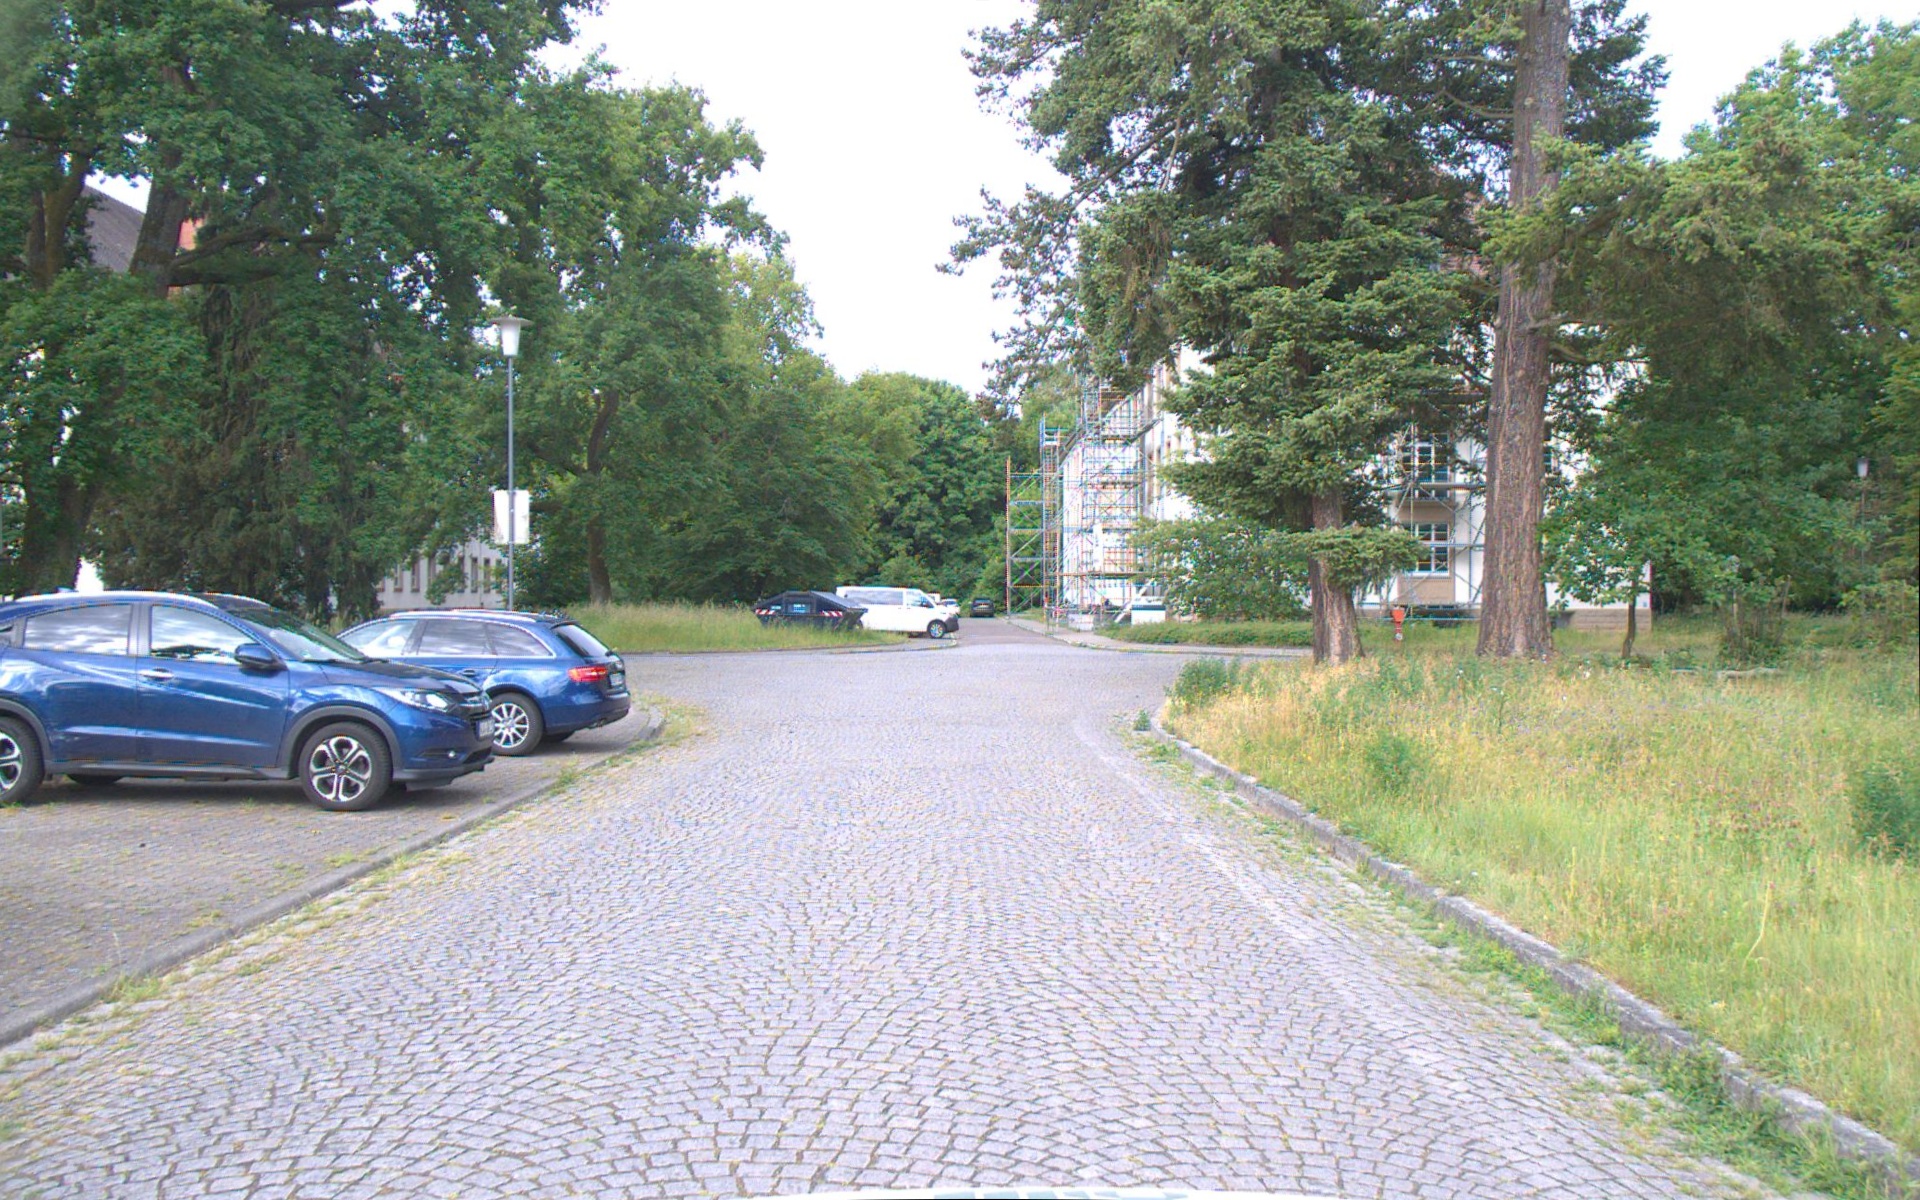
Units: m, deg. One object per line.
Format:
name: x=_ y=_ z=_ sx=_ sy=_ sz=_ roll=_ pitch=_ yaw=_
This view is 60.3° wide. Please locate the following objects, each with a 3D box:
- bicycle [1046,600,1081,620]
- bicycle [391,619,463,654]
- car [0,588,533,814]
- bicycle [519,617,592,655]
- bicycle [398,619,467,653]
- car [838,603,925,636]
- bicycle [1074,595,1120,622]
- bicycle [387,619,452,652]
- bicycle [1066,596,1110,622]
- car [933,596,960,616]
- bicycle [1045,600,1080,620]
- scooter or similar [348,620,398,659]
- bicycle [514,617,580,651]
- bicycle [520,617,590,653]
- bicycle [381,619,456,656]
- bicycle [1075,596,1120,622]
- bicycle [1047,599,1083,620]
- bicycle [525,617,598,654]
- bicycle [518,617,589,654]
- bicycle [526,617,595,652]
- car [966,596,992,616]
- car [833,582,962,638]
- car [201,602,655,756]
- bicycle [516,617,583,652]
bicycle: x=6.567 y=0.611 z=104.782 sx=2.194 sy=1.276 sz=0.698 roll=0 pitch=0 yaw=1
bicycle: x=-15.653 y=1.066 z=48.561 sx=1.935 sy=1.007 sz=0.621 roll=0 pitch=0 yaw=-28
car: x=-5.686 y=0.739 z=13.065 sx=4.143 sy=1.604 sz=1.886 roll=1 pitch=0 yaw=-2
bicycle: x=-11.294 y=1.002 z=46.173 sx=1.930 sy=1.007 sz=0.623 roll=0 pitch=0 yaw=-22
bicycle: x=-15.900 y=1.079 z=49.905 sx=1.923 sy=1.007 sz=0.625 roll=0 pitch=0 yaw=-12
car: x=-3.390 y=0.844 z=71.802 sx=3.713 sy=1.420 sz=1.999 roll=0 pitch=0 yaw=-2
bicycle: x=6.611 y=0.420 z=79.818 sx=2.194 sy=1.276 sz=0.778 roll=0 pitch=0 yaw=1
bicycle: x=-17.092 y=1.108 z=52.318 sx=1.927 sy=1.007 sz=0.624 roll=0 pitch=0 yaw=-18
bicycle: x=6.500 y=0.454 z=84.072 sx=2.194 sy=1.276 sz=0.778 roll=0 pitch=0 yaw=1
car: x=-1.124 y=0.497 z=132.715 sx=2.076 sy=1.548 sz=3.998 roll=0 pitch=0 yaw=-2
bicycle: x=6.562 y=0.618 z=105.627 sx=2.194 sy=1.276 sz=0.634 roll=0 pitch=0 yaw=1
scooter or similar: x=-16.148 y=1.089 z=45.509 sx=1.321 sy=1.056 sz=0.453 roll=0 pitch=0 yaw=21
bicycle: x=-12.889 y=1.060 z=51.677 sx=1.932 sy=1.007 sz=0.622 roll=0 pitch=0 yaw=-24
bicycle: x=-11.844 y=1.024 z=48.385 sx=1.932 sy=1.007 sz=0.622 roll=0 pitch=0 yaw=-24
bicycle: x=-15.169 y=1.044 z=46.372 sx=1.935 sy=1.007 sz=0.621 roll=0 pitch=0 yaw=-28
bicycle: x=6.792 y=0.433 z=81.733 sx=2.194 sy=1.276 sz=0.778 roll=0 pitch=0 yaw=1
bicycle: x=6.565 y=0.602 z=103.414 sx=2.194 sy=1.276 sz=0.627 roll=0 pitch=0 yaw=1
bicycle: x=-11.278 y=1.006 z=46.798 sx=1.932 sy=1.007 sz=0.622 roll=0 pitch=0 yaw=-24
bicycle: x=-11.738 y=1.019 z=47.761 sx=1.932 sy=1.007 sz=0.622 roll=0 pitch=0 yaw=-24
bicycle: x=-11.909 y=1.032 z=49.260 sx=1.932 sy=1.007 sz=0.622 roll=0 pitch=0 yaw=-24
car: x=1.495 y=0.472 z=133.058 sx=1.912 sy=1.548 sz=3.998 roll=0 pitch=0 yaw=-2
car: x=-2.532 y=0.376 z=66.694 sx=5.130 sy=2.206 sz=1.999 roll=0 pitch=0 yaw=-3
car: x=-5.597 y=0.808 z=17.817 sx=4.214 sy=1.486 sz=1.975 roll=1 pitch=0 yaw=0
bicycle: x=-12.540 y=1.048 z=50.557 sx=1.932 sy=1.007 sz=0.622 roll=0 pitch=0 yaw=-24
